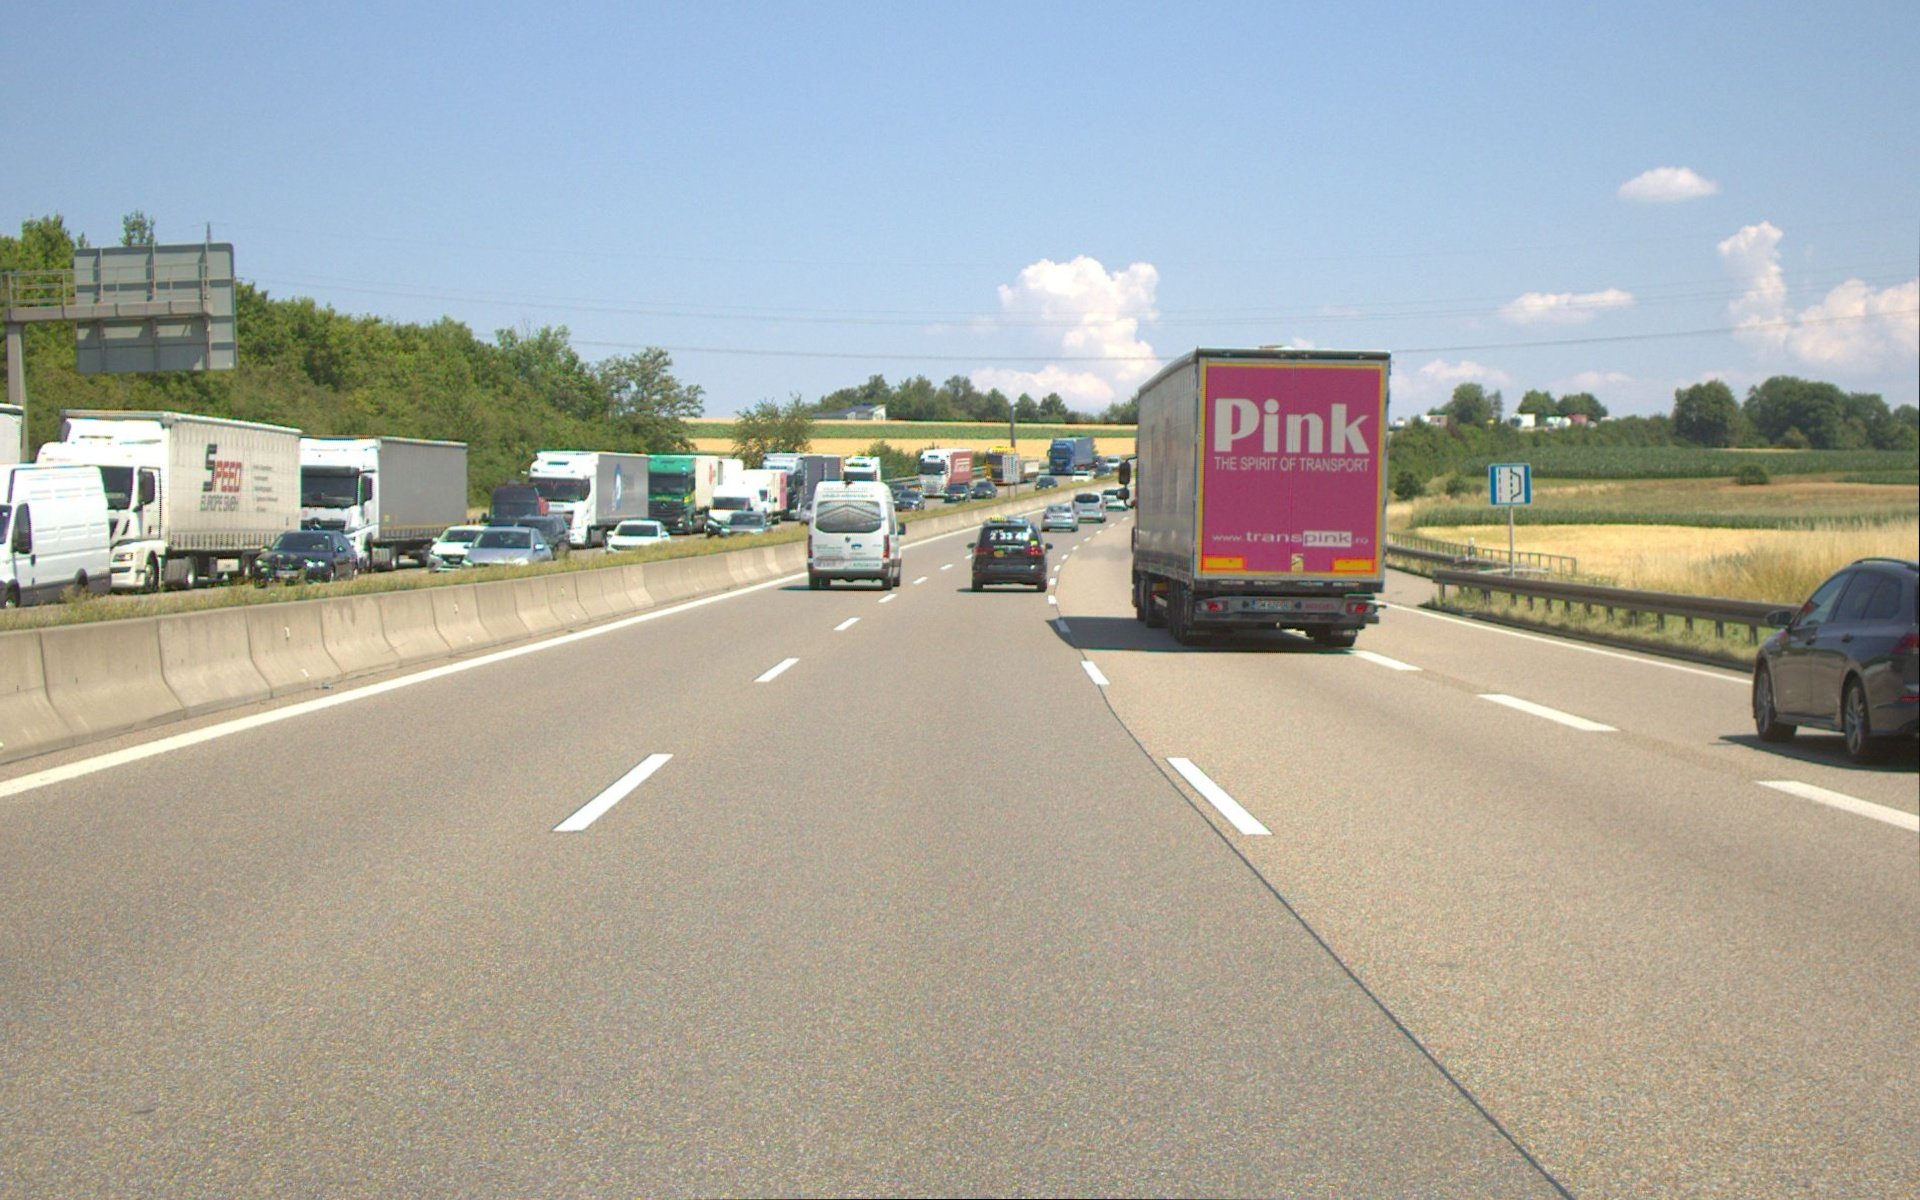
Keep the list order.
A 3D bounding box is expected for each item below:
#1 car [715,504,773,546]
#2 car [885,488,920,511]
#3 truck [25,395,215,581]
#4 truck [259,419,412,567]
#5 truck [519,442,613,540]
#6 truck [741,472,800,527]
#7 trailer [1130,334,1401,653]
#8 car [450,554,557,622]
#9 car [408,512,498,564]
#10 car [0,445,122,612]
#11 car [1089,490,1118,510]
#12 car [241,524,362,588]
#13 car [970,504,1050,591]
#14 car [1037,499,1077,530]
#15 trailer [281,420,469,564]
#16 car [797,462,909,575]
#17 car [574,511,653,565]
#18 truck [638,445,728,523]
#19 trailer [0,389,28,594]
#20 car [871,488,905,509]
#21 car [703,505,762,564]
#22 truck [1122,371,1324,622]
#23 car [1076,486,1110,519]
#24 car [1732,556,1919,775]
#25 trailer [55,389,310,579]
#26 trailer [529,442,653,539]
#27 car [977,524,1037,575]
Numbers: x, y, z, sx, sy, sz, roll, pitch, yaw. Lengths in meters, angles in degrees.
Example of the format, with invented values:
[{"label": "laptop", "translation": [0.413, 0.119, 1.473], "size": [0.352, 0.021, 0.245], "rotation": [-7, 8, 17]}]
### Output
[{"label": "car", "translation": [-8.883, -3.093, 141.670], "size": [1.932, 1.682, 4.796], "rotation": [0, 2, 2]}, {"label": "car", "translation": [-4.078, -7.141, 244.576], "size": [1.961, 1.455, 4.246], "rotation": [1, 1, 6]}, {"label": "truck", "translation": [-19.123, -2.553, 78.562], "size": [2.755, 4.029, 6.100], "rotation": [1, 2, 1]}, {"label": "truck", "translation": [-18.472, -3.140, 102.040], "size": [2.962, 4.195, 6.604], "rotation": [1, 1, 3]}, {"label": "truck", "translation": [-16.535, -4.575, 144.523], "size": [2.853, 4.022, 6.604], "rotation": [0, 2, 3]}, {"label": "truck", "translation": [-11.254, -6.019, 205.006], "size": [2.539, 3.196, 7.589], "rotation": [1, 2, 4]}, {"label": "trailer", "translation": [4.312, -1.628, 51.658], "size": [2.918, 4.103, 13.859], "rotation": [1, 2, 1]}, {"label": "car", "translation": [-11.216, -0.309, 84.749], "size": [1.993, 1.573, 4.595], "rotation": [0, 1, 1]}, {"label": "car", "translation": [-14.683, -1.776, 99.779], "size": [1.881, 1.469, 4.406], "rotation": [0, 1, 1]}, {"label": "car", "translation": [-15.714, -1.184, 56.511], "size": [1.897, 2.565, 7.573], "rotation": [0, 1, 1]}, {"label": "car", "translation": [10.075, -7.006, 241.633], "size": [1.993, 1.305, 4.001], "rotation": [0, 3, 2]}, {"label": "car", "translation": [-15.607, -1.065, 81.745], "size": [1.876, 1.429, 4.925], "rotation": [1, 1, 1]}, {"label": "car", "translation": [1.188, -1.290, 82.136], "size": [1.847, 1.854, 4.206], "rotation": [0, 4, 1]}, {"label": "car", "translation": [5.133, -4.543, 182.144], "size": [1.993, 1.579, 4.000], "rotation": [0, 2, 0]}, {"label": "trailer", "translation": [-18.277, -3.350, 108.503], "size": [2.982, 4.192, 14.193], "rotation": [1, 1, 2]}, {"label": "car", "translation": [-2.533, -1.919, 82.450], "size": [2.180, 2.616, 4.672], "rotation": [1, 1, 4]}, {"label": "car", "translation": [-10.867, -1.934, 108.185], "size": [1.993, 1.638, 4.407], "rotation": [0, 1, 1]}, {"label": "truck", "translation": [-14.292, -6.076, 178.375], "size": [2.843, 3.885, 11.247], "rotation": [-1, 2, 4]}, {"label": "trailer", "translation": [-19.706, -1.944, 59.873], "size": [2.903, 3.860, 13.877], "rotation": [0, 1, 1]}, {"label": "car", "translation": [-5.359, -7.554, 256.157], "size": [1.961, 1.455, 4.246], "rotation": [1, 1, 6]}, {"label": "car", "translation": [-11.086, -3.171, 168.142], "size": [2.139, 2.776, 6.625], "rotation": [1, 1, 2]}, {"label": "truck", "translation": [4.394, -1.785, 58.662], "size": [2.916, 3.994, 6.511], "rotation": [1, 2, 0]}, {"label": "car", "translation": [8.028, -5.857, 207.240], "size": [1.994, 1.897, 4.000], "rotation": [1, 1, 3]}, {"label": "car", "translation": [7.069, 0.431, 25.304], "size": [1.761, 1.466, 4.536], "rotation": [1, 1, 1]}, {"label": "trailer", "translation": [-19.017, -2.841, 85.184], "size": [2.811, 4.263, 13.869], "rotation": [1, 2, 1]}, {"label": "trailer", "translation": [-16.128, -4.841, 151.441], "size": [2.903, 4.072, 14.444], "rotation": [0, 2, 4]}, {"label": "car", "translation": [1.667, -1.757, 120.729], "size": [1.993, 1.744, 4.000], "rotation": [1, 1, 2]}]
